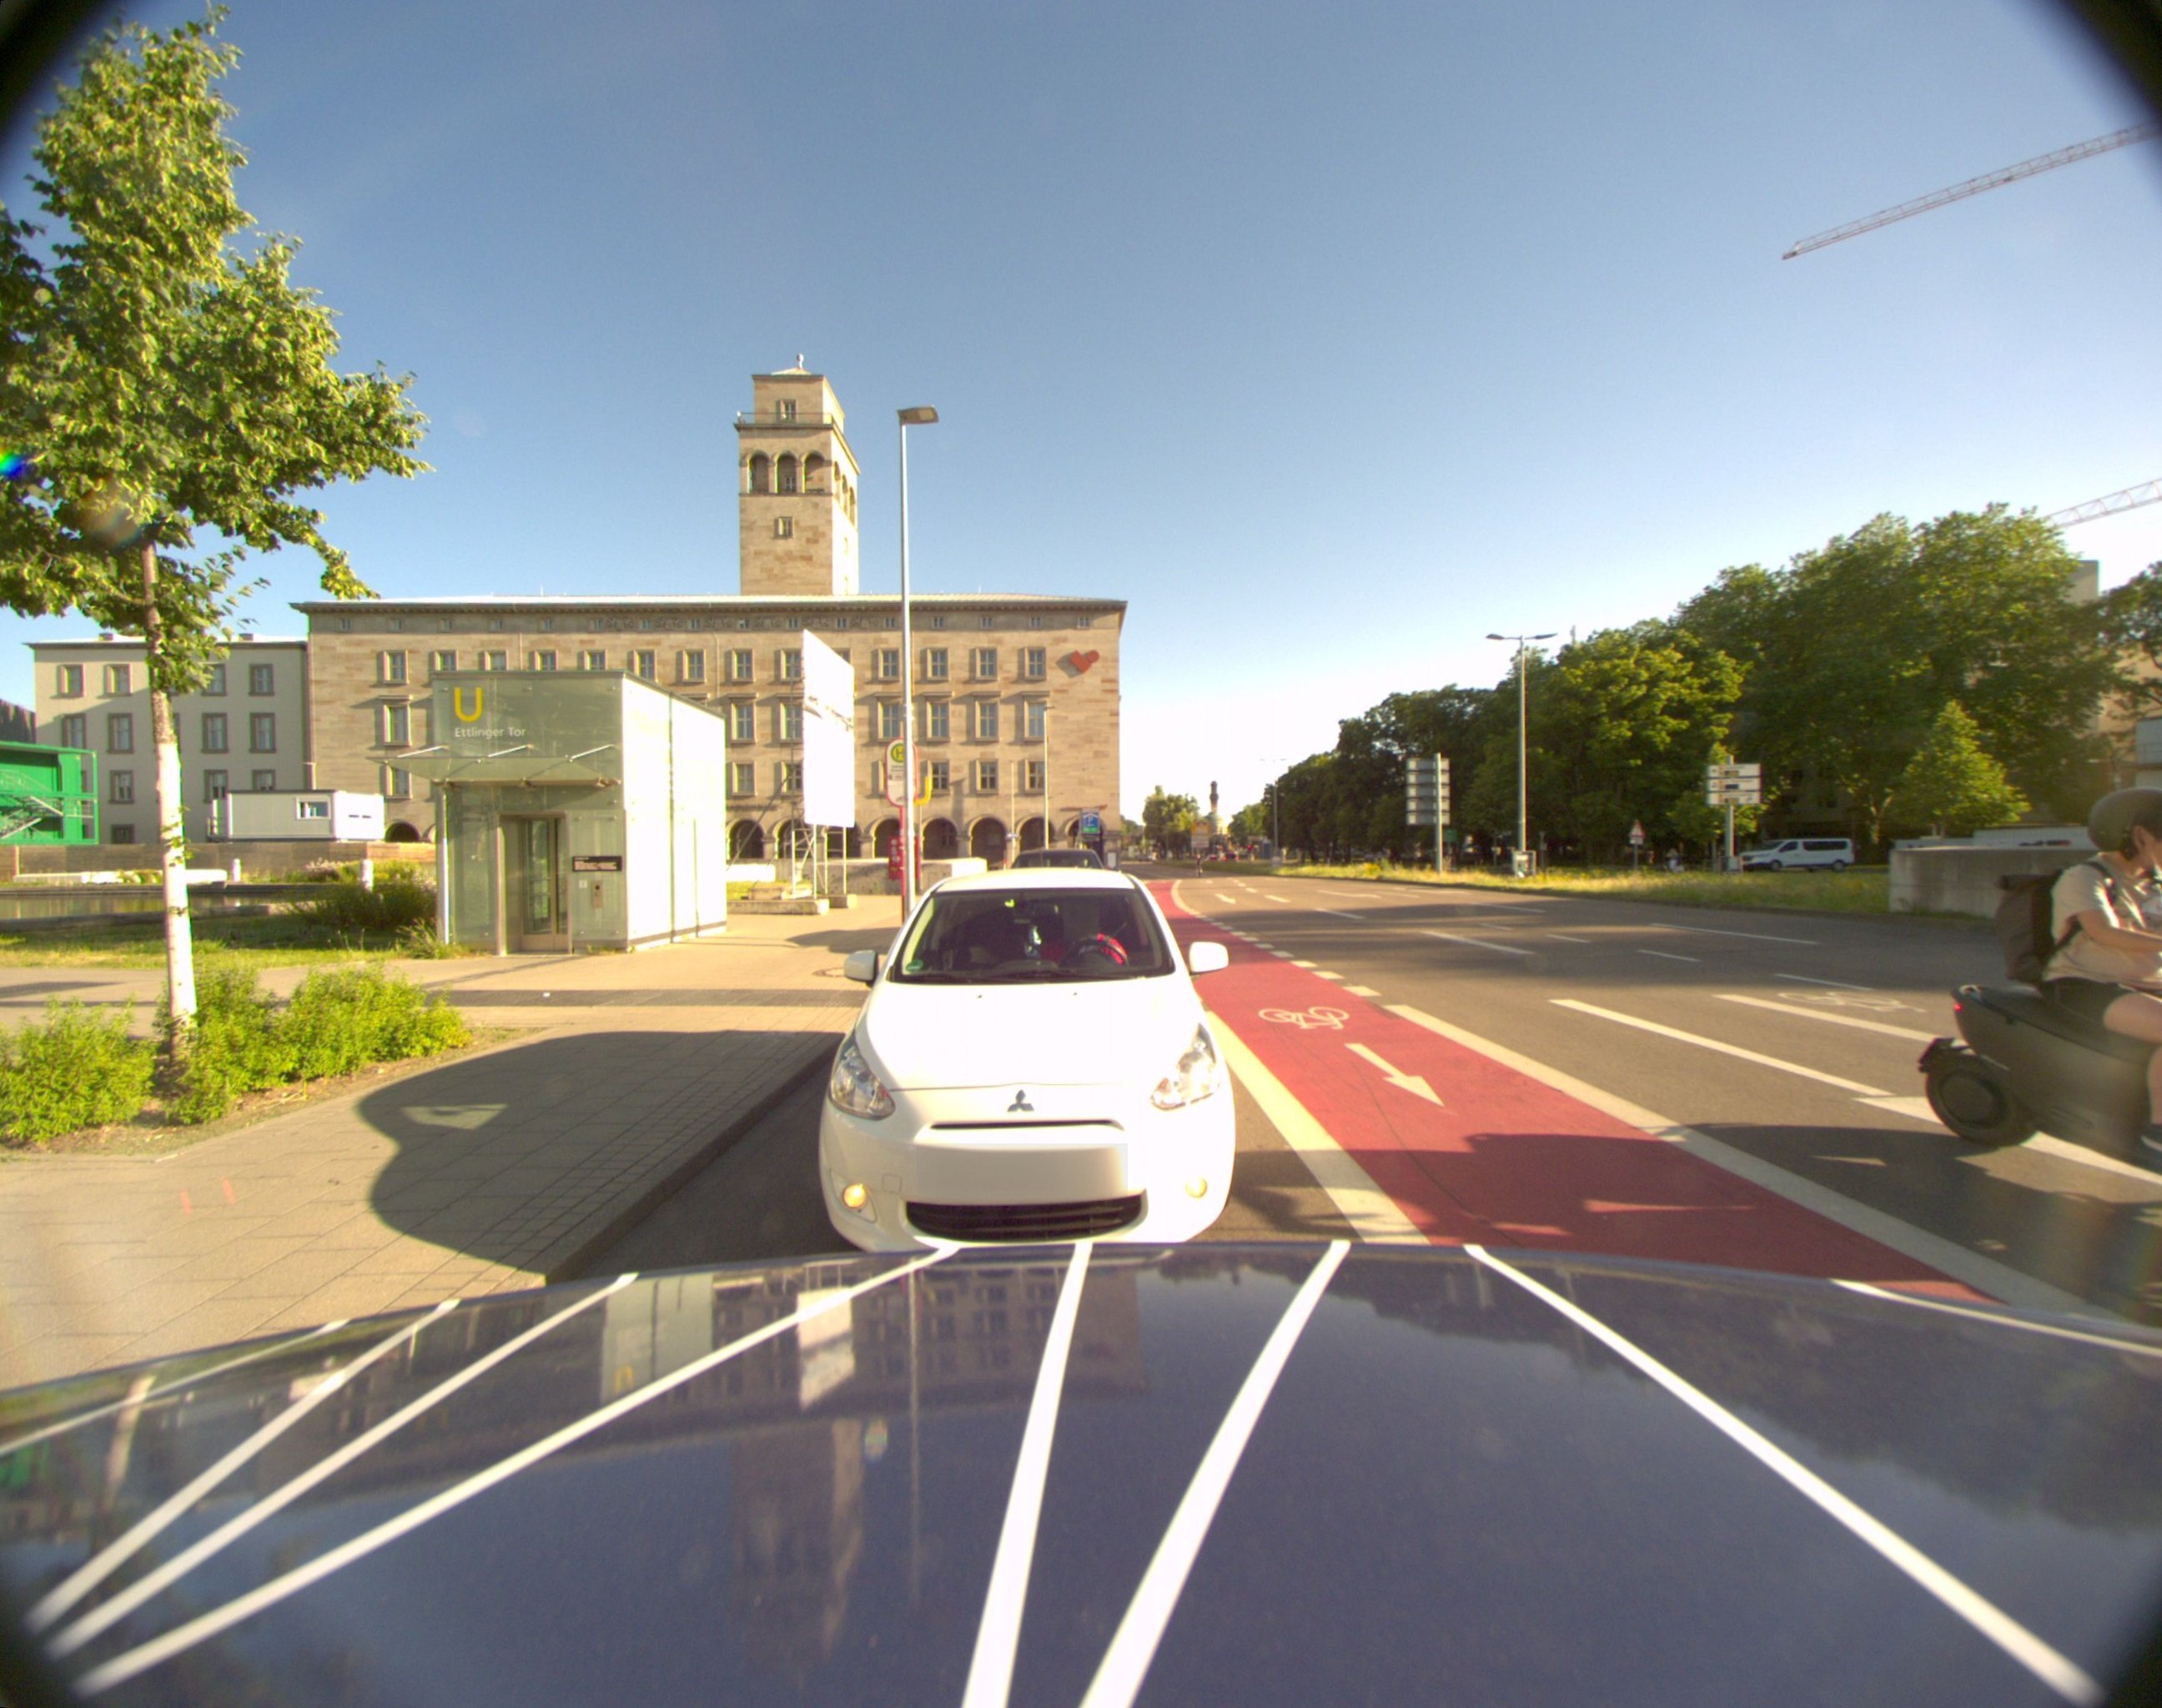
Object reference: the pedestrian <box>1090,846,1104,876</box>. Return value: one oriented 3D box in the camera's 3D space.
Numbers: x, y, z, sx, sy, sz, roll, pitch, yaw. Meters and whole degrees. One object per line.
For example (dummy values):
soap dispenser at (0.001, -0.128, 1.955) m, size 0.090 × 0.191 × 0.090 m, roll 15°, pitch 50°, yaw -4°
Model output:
pedestrian at (1.385, 0.624, 65.283) m, size 1.122 × 2.524 × 1.055 m, roll -2°, pitch 1°, yaw 1°

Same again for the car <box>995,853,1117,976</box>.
car at (-0.373, 0.841, 12.517) m, size 1.642 × 1.653 × 3.849 m, roll -2°, pitch 0°, yaw -1°

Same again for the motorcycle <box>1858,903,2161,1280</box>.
motorcycle at (4.284, 0.900, 2.884) m, size 0.724 × 1.286 × 1.884 m, roll -2°, pitch 0°, yaw 1°

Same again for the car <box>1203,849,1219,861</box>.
car at (20.582, 0.117, 120.439) m, size 1.747 × 1.778 × 3.947 m, roll -2°, pitch 1°, yaw 1°

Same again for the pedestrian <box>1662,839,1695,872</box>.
pedestrian at (33.873, 0.067, 43.082) m, size 0.989 × 1.821 × 1.019 m, roll -2°, pitch 1°, yaw -4°

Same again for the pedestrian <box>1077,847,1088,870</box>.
pedestrian at (0.127, 0.469, 83.124) m, size 1.122 × 2.524 × 1.055 m, roll -2°, pitch 1°, yaw 1°

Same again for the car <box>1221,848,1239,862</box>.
car at (21.588, 0.121, 110.162) m, size 1.819 × 1.817 × 3.999 m, roll -2°, pitch 1°, yaw 1°

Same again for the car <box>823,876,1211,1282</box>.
car at (-0.233, 0.955, 4.837) m, size 1.496 × 1.477 × 3.604 m, roll -2°, pitch 0°, yaw 1°

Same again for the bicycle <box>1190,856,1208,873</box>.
bicycle at (8.220, 0.744, 52.964) m, size 0.854 × 1.109 × 2.808 m, roll -2°, pitch 0°, yaw 1°

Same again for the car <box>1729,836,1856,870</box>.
car at (42.132, -0.050, 45.110) m, size 5.516 × 1.924 × 2.065 m, roll -1°, pitch 1°, yaw 2°

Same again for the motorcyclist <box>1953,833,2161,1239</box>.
motorcyclist at (4.277, 0.656, 2.937) m, size 0.727 × 1.466 × 0.917 m, roll -2°, pitch 0°, yaw 1°

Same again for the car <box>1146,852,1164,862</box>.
car at (14.621, 0.529, 149.915) m, size 1.879 × 1.827 × 4.578 m, roll -3°, pitch 1°, yaw -18°

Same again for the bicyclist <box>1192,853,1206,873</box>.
bicyclist at (8.224, 0.631, 52.942) m, size 0.854 × 1.340 × 0.829 m, roll -2°, pitch 1°, yaw 1°
